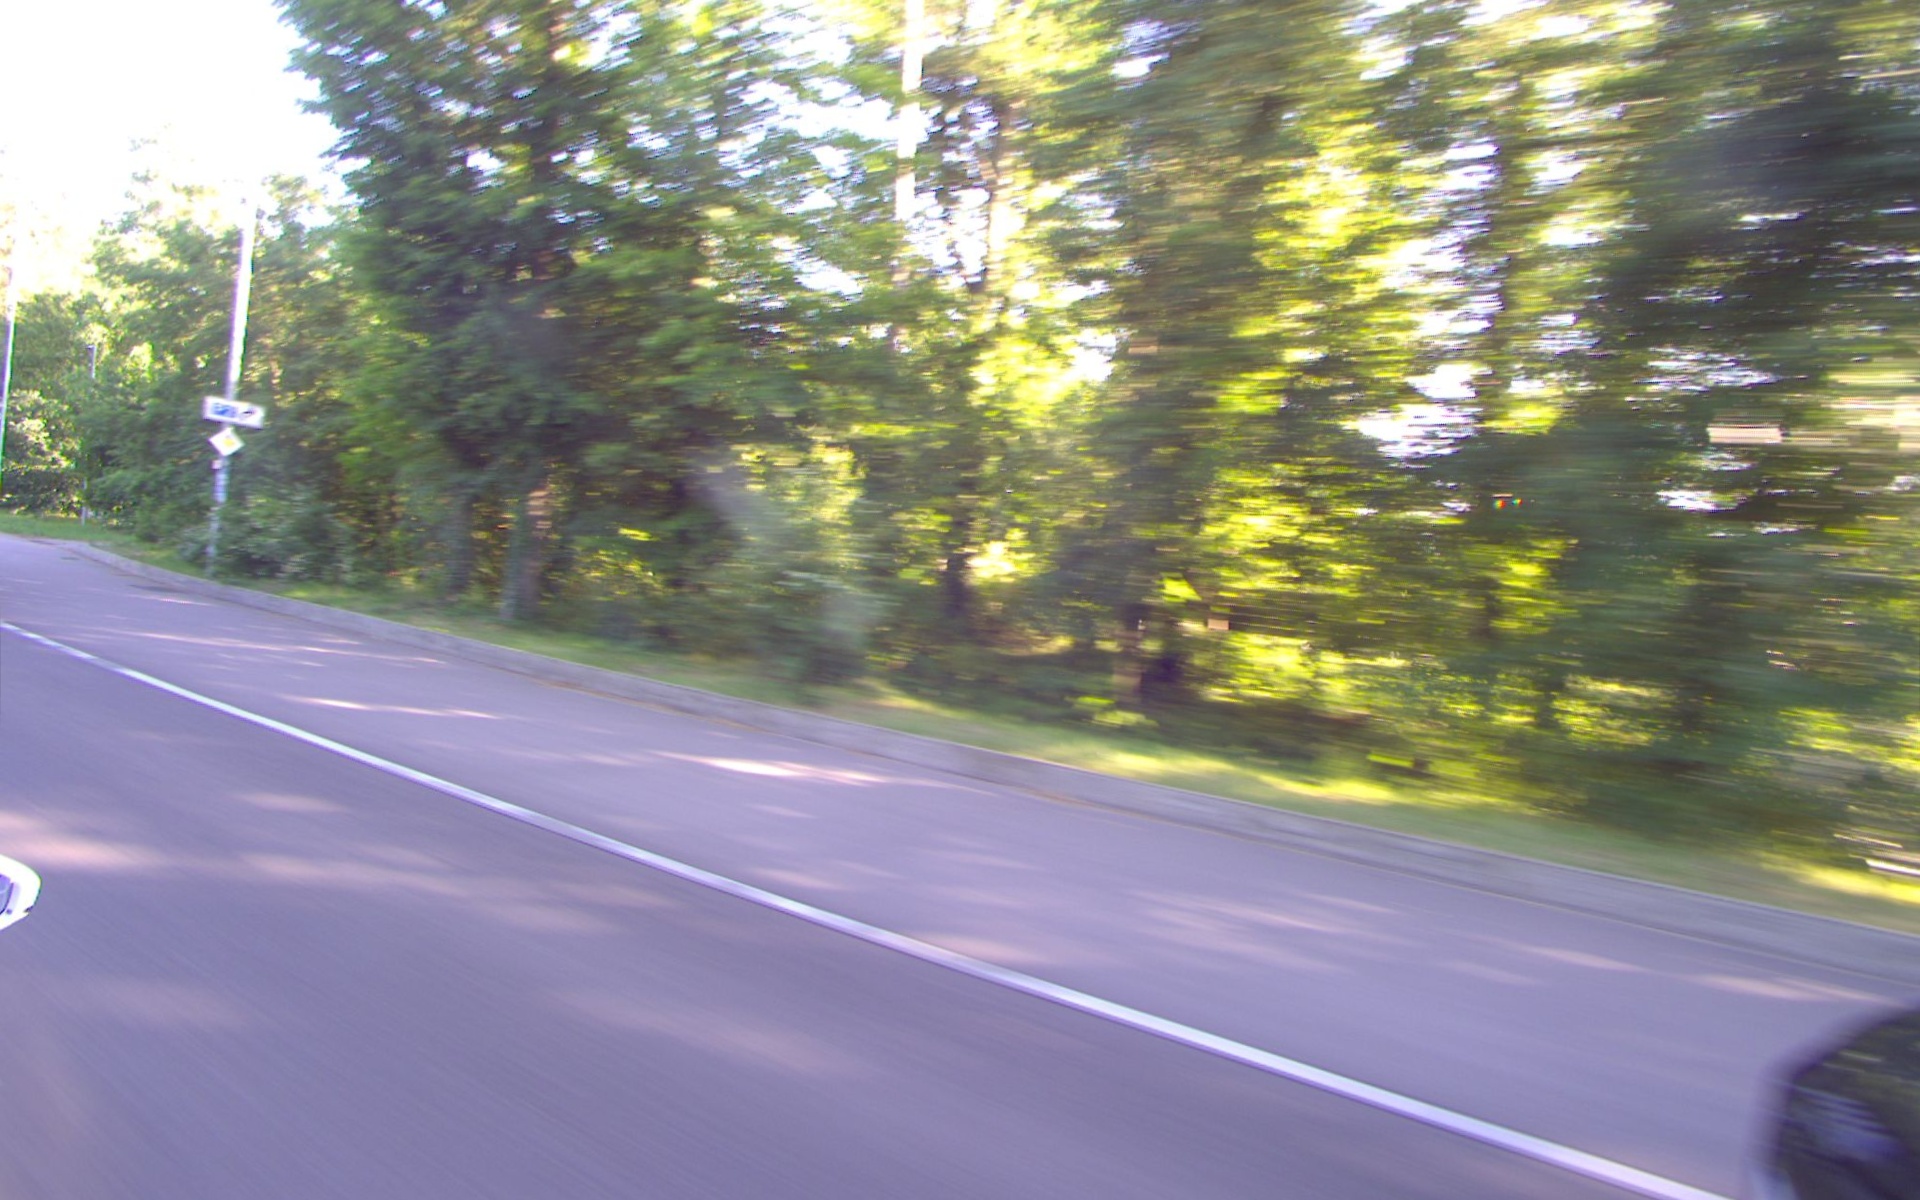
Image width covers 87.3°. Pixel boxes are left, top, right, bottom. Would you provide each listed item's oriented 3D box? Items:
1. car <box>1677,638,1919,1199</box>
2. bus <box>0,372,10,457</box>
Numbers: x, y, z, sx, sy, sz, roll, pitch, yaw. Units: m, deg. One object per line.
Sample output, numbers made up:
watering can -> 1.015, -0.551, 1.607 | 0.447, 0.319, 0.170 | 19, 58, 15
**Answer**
car -> 3.506, 1.124, 0.818 | 4.467, 1.624, 1.897 | 6, -1, 30
bus -> -18.176, -2.056, 15.670 | 11.857, 3.079, 2.690 | 6, -1, 37
